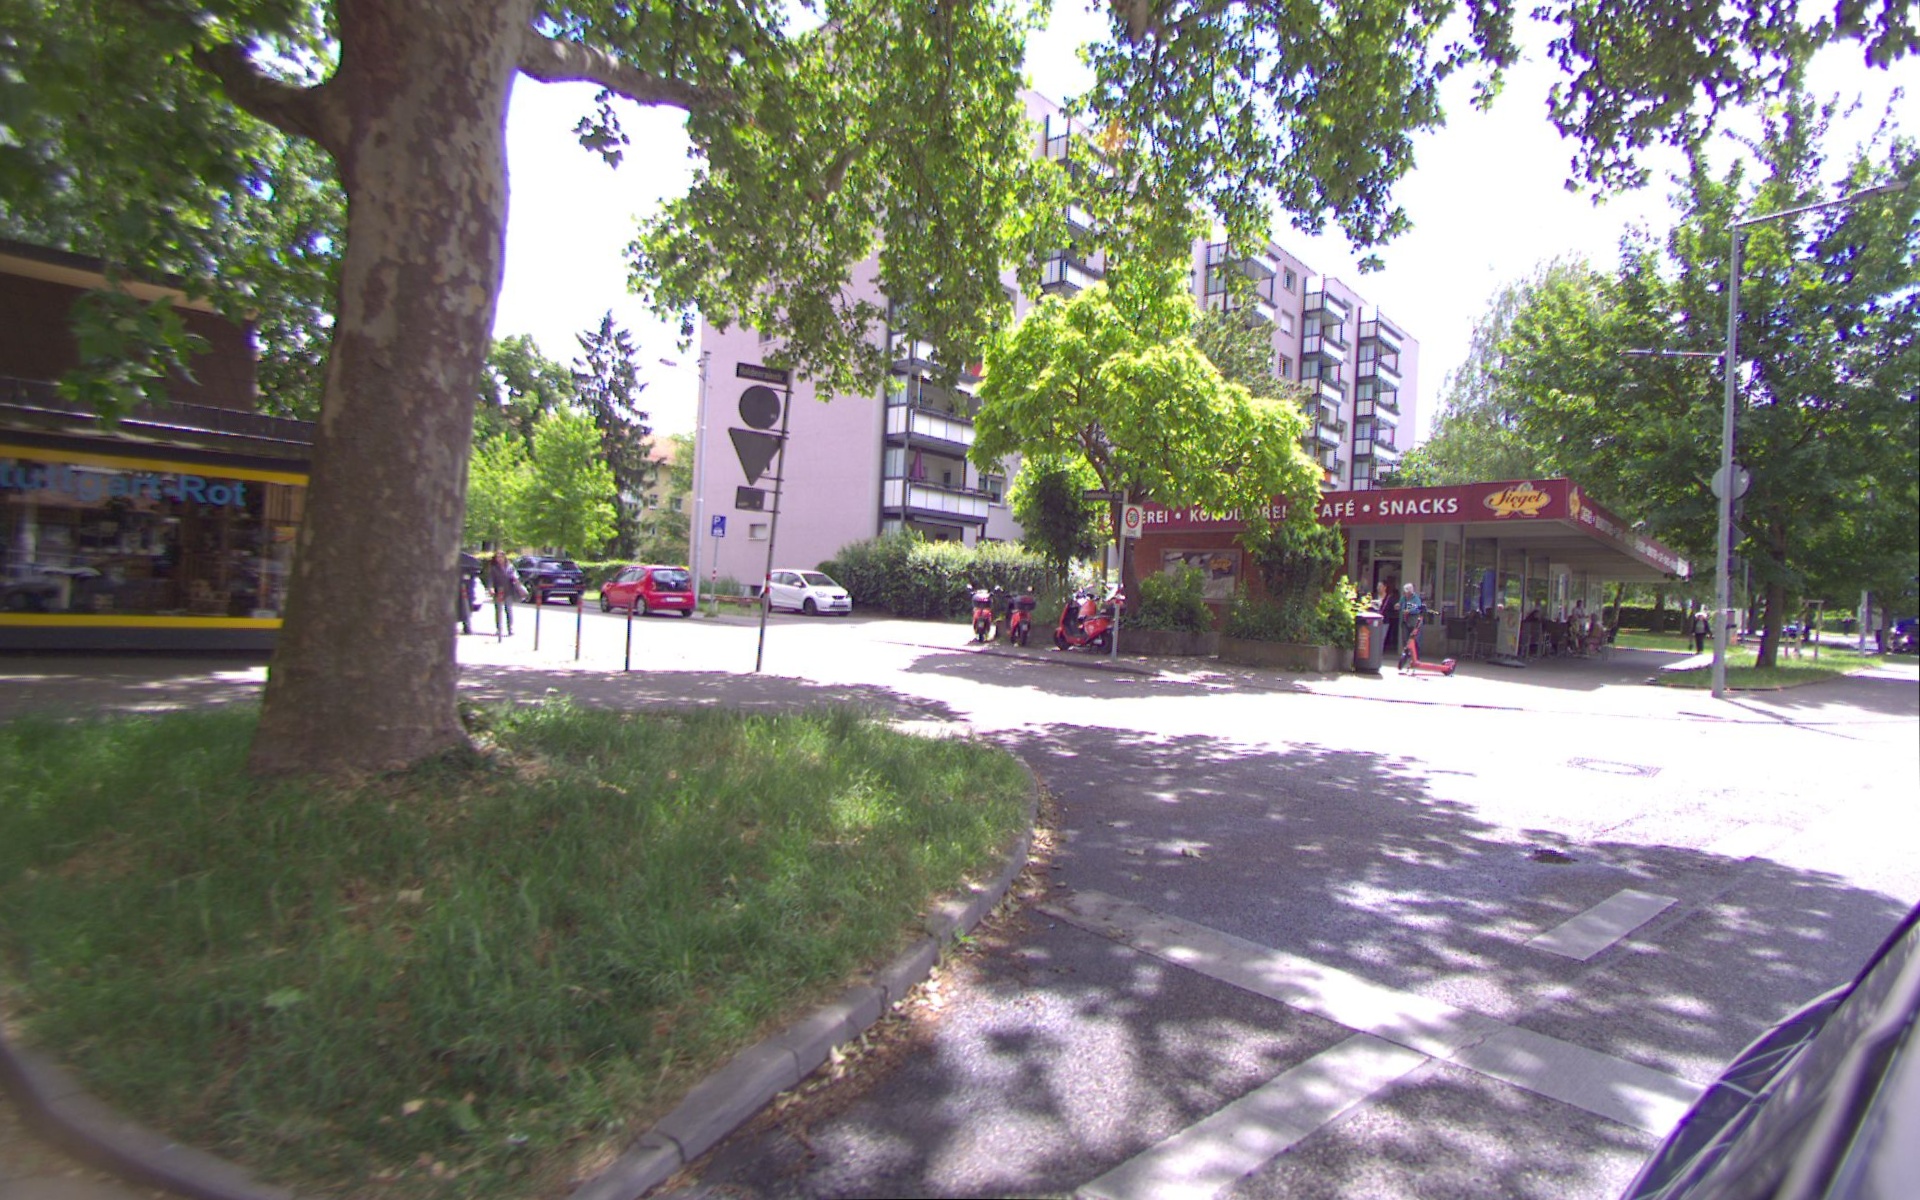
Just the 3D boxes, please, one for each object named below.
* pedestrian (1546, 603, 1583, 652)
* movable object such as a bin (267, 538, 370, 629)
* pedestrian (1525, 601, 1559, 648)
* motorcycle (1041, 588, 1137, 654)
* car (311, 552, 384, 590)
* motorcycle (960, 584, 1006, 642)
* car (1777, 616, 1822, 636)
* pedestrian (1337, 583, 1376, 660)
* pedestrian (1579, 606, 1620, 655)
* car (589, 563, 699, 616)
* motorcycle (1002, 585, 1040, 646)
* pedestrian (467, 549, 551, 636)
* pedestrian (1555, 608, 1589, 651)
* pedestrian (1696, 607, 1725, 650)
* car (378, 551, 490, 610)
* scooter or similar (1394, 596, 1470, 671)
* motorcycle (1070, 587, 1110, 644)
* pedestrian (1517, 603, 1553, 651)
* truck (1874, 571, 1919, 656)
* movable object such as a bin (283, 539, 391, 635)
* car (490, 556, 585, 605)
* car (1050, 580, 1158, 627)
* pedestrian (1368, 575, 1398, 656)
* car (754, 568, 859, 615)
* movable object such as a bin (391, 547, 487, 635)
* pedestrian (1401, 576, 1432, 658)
[{"bbox_3d":[16.680,0.746,27.925,0.671,1.282,0.814,5,2,40],"label":"pedestrian"},{"bbox_3d":[-10.969,-0.290,17.297,1.191,1.430,1.177,5,-1,-44],"label":"movable object such as a bin"},{"bbox_3d":[16.993,0.702,29.560,0.671,1.282,0.668,5,3,40],"label":"pedestrian"},{"bbox_3d":[2.557,0.403,20.404,0.725,1.210,2.141,2,1,-30],"label":"motorcycle"},{"bbox_3d":[-25.696,-1.237,42.400,3.502,1.459,1.704,3,1,43],"label":"car"},{"bbox_3d":[0.547,0.265,22.955,0.728,1.210,2.133,2,1,9],"label":"motorcycle"},{"bbox_3d":[62.218,1.914,75.025,1.793,1.371,3.959,2,1,29],"label":"car"},{"bbox_3d":[8.283,0.446,21.142,0.522,1.571,0.512,2,0,-9],"label":"pedestrian"},{"bbox_3d":[17.588,0.832,27.825,0.661,1.282,0.678,2,3,-36],"label":"pedestrian"},{"bbox_3d":[-9.465,-0.333,30.174,3.478,1.456,1.612,3,0,44],"label":"car"},{"bbox_3d":[1.307,0.311,21.979,0.726,1.210,2.137,2,1,2],"label":"motorcycle"},{"bbox_3d":[-8.324,-0.132,18.677,1.083,1.494,0.808,7,-3,-45],"label":"pedestrian"},{"bbox_3d":[17.561,0.826,29.033,0.671,1.165,0.668,5,3,40],"label":"pedestrian"},{"bbox_3d":[28.036,1.055,37.790,0.643,1.557,0.725,2,0,-44],"label":"pedestrian"},{"bbox_3d":[-14.544,-0.552,27.935,3.456,1.505,1.631,3,1,42],"label":"car"},{"bbox_3d":[8.578,0.604,18.403,1.206,1.324,0.378,2,0,-8],"label":"scooter or similar"},{"bbox_3d":[2.930,0.322,23.048,0.726,1.210,2.136,2,1,4],"label":"motorcycle"},{"bbox_3d":[16.200,0.745,28.515,0.675,1.282,0.664,5,3,42],"label":"pedestrian"},{"bbox_3d":[50.421,0.736,52.870,2.615,4.144,9.487,2,1,35],"label":"truck"},{"bbox_3d":[-10.107,-0.217,16.420,1.191,1.430,1.177,5,-1,-44],"label":"movable object such as a bin"},{"bbox_3d":[-14.767,-0.710,35.296,3.833,1.571,1.614,3,1,43],"label":"car"},{"bbox_3d":[4.609,0.134,32.082,1.743,1.359,3.435,2,0,43],"label":"car"},{"bbox_3d":[8.785,0.311,21.044,0.436,1.652,0.399,2,0,9],"label":"pedestrian"},{"bbox_3d":[-5.210,-0.304,34.184,3.478,1.456,1.721,3,0,44],"label":"car"},{"bbox_3d":[-9.197,-0.169,17.861,1.125,1.430,1.183,5,-1,-44],"label":"movable object such as a bin"},{"bbox_3d":[9.384,0.351,20.800,0.436,1.652,0.399,2,0,9],"label":"pedestrian"}]
